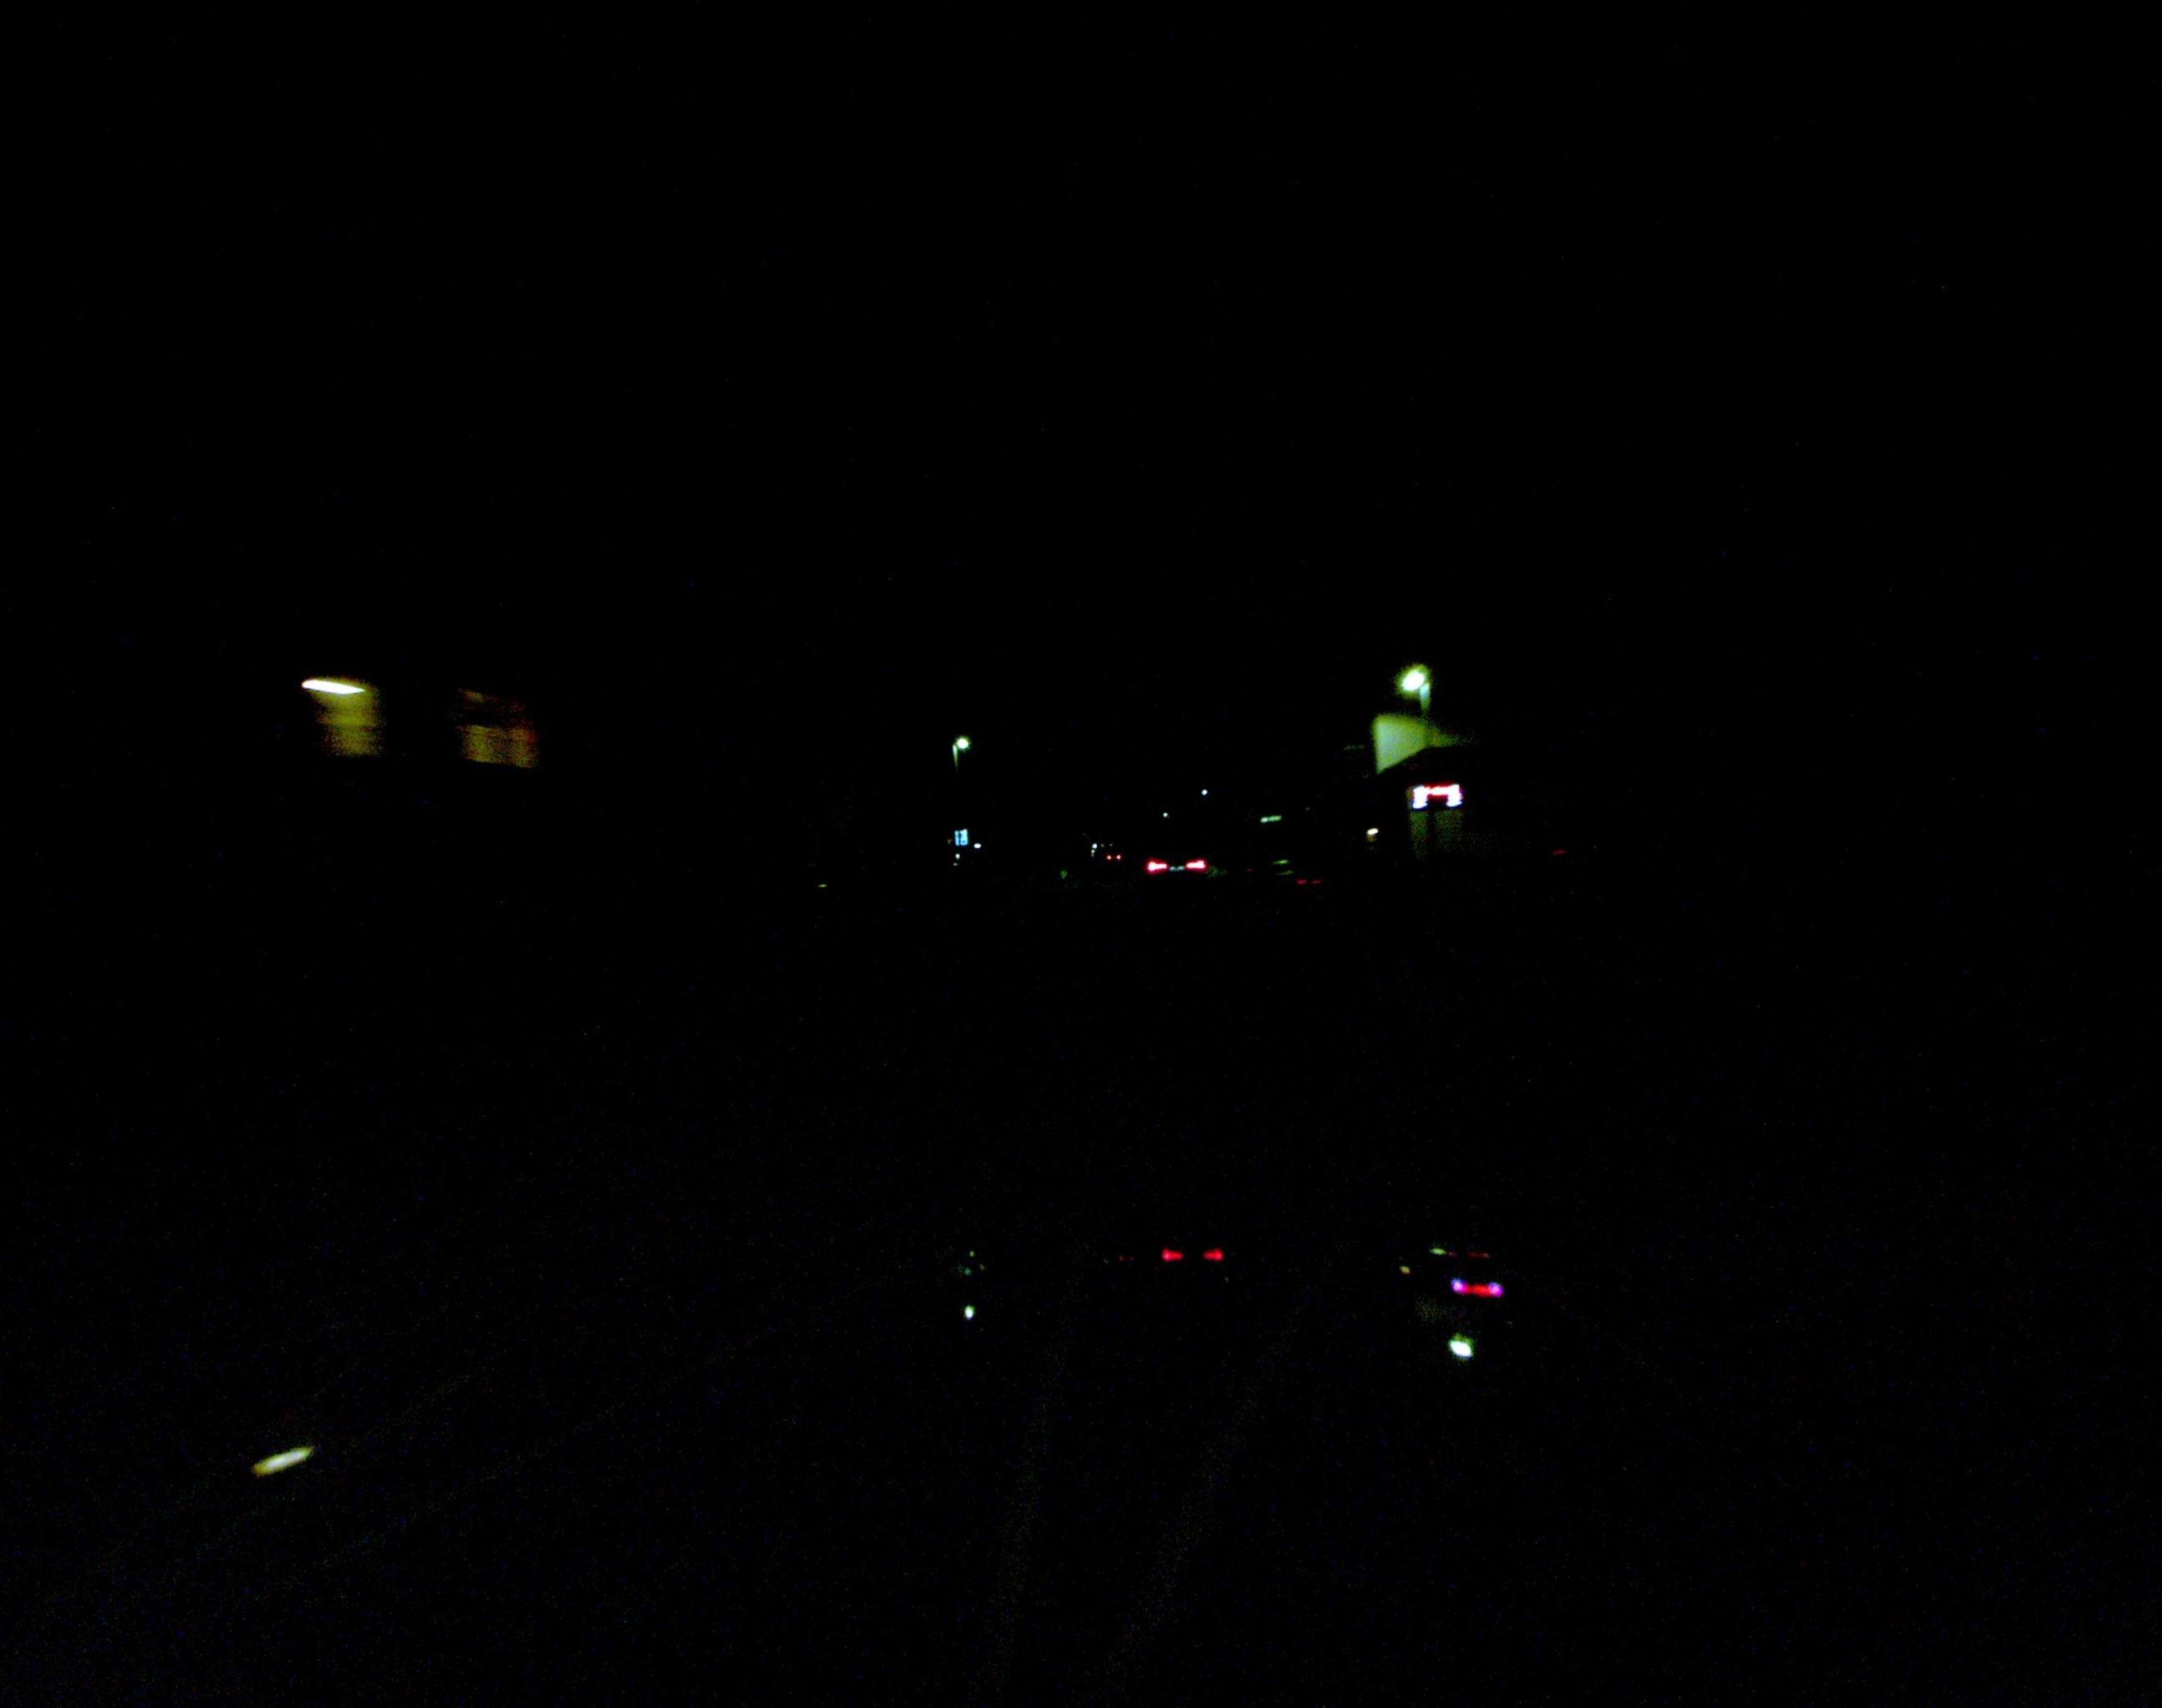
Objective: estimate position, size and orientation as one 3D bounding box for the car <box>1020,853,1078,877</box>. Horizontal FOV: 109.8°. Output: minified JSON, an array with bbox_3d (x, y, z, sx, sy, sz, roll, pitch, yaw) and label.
[{"bbox_3d":[-2.253,0.758,53.905,3.926,1.505,1.854,-2,1,-2],"label":"car"}]

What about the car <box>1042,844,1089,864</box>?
[{"bbox_3d":[-1.707,0.029,86.414,5.156,2.084,2.260,-2,1,1],"label":"car"}]

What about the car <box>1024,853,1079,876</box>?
[{"bbox_3d":[-2.152,0.742,56.175,3.926,1.505,1.854,-2,2,1],"label":"car"}]

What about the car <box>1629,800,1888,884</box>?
[{"bbox_3d":[15.305,-0.251,17.380,3.995,1.608,2.000,-3,1,5],"label":"car"}]

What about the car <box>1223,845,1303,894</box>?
[{"bbox_3d":[6.242,0.488,26.457,1.775,1.460,3.966,-4,0,1],"label":"car"}]

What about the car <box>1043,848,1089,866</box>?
[{"bbox_3d":[-1.728,0.345,89.224,5.156,1.834,2.260,-2,1,1],"label":"car"}]

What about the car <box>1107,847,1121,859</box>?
[{"bbox_3d":[4.900,-0.115,112.990,1.724,1.705,3.960,-4,0,-1],"label":"car"}]

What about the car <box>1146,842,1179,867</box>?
[{"bbox_3d":[6.876,0.007,64.659,2.121,1.935,4.887,-4,0,0],"label":"car"}]

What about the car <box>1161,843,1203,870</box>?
[{"bbox_3d":[6.959,0.143,52.687,2.121,1.539,4.475,-7,1,0],"label":"car"}]

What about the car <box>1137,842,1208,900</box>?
[{"bbox_3d":[3.078,0.527,26.351,2.008,1.738,4.558,-3,1,2],"label":"car"}]

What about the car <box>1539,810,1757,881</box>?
[{"bbox_3d":[14.824,-0.224,20.008,4.325,1.552,2.028,-3,1,-6],"label":"car"}]

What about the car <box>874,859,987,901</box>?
[{"bbox_3d":[-5.732,0.968,29.199,3.914,1.477,1.832,-1,1,1],"label":"car"}]

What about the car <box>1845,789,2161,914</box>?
[{"bbox_3d":[14.421,-0.052,11.252,4.125,1.652,2.000,-1,1,3],"label":"car"}]

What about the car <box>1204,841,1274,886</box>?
[{"bbox_3d":[6.469,0.357,31.569,1.933,1.627,4.470,-4,0,1],"label":"car"}]

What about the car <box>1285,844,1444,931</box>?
[{"bbox_3d":[5.665,0.597,15.754,1.753,1.460,4.009,-4,0,1],"label":"car"}]

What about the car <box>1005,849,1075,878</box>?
[{"bbox_3d":[-2.715,0.613,50.901,4.363,1.805,2.032,-2,1,7],"label":"car"}]

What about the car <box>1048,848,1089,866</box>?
[{"bbox_3d":[-1.307,0.334,80.466,4.287,1.688,2.000,-3,0,0],"label":"car"}]

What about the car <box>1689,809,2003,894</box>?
[{"bbox_3d":[14.621,-0.052,14.738,3.996,1.455,2.000,-1,1,3],"label":"car"}]

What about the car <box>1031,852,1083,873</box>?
[{"bbox_3d":[-1.939,0.672,62.014,3.924,1.542,1.988,-2,1,6],"label":"car"}]

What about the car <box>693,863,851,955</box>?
[{"bbox_3d":[-6.185,1.028,15.681,1.643,1.551,3.678,-2,0,1],"label":"car"}]
